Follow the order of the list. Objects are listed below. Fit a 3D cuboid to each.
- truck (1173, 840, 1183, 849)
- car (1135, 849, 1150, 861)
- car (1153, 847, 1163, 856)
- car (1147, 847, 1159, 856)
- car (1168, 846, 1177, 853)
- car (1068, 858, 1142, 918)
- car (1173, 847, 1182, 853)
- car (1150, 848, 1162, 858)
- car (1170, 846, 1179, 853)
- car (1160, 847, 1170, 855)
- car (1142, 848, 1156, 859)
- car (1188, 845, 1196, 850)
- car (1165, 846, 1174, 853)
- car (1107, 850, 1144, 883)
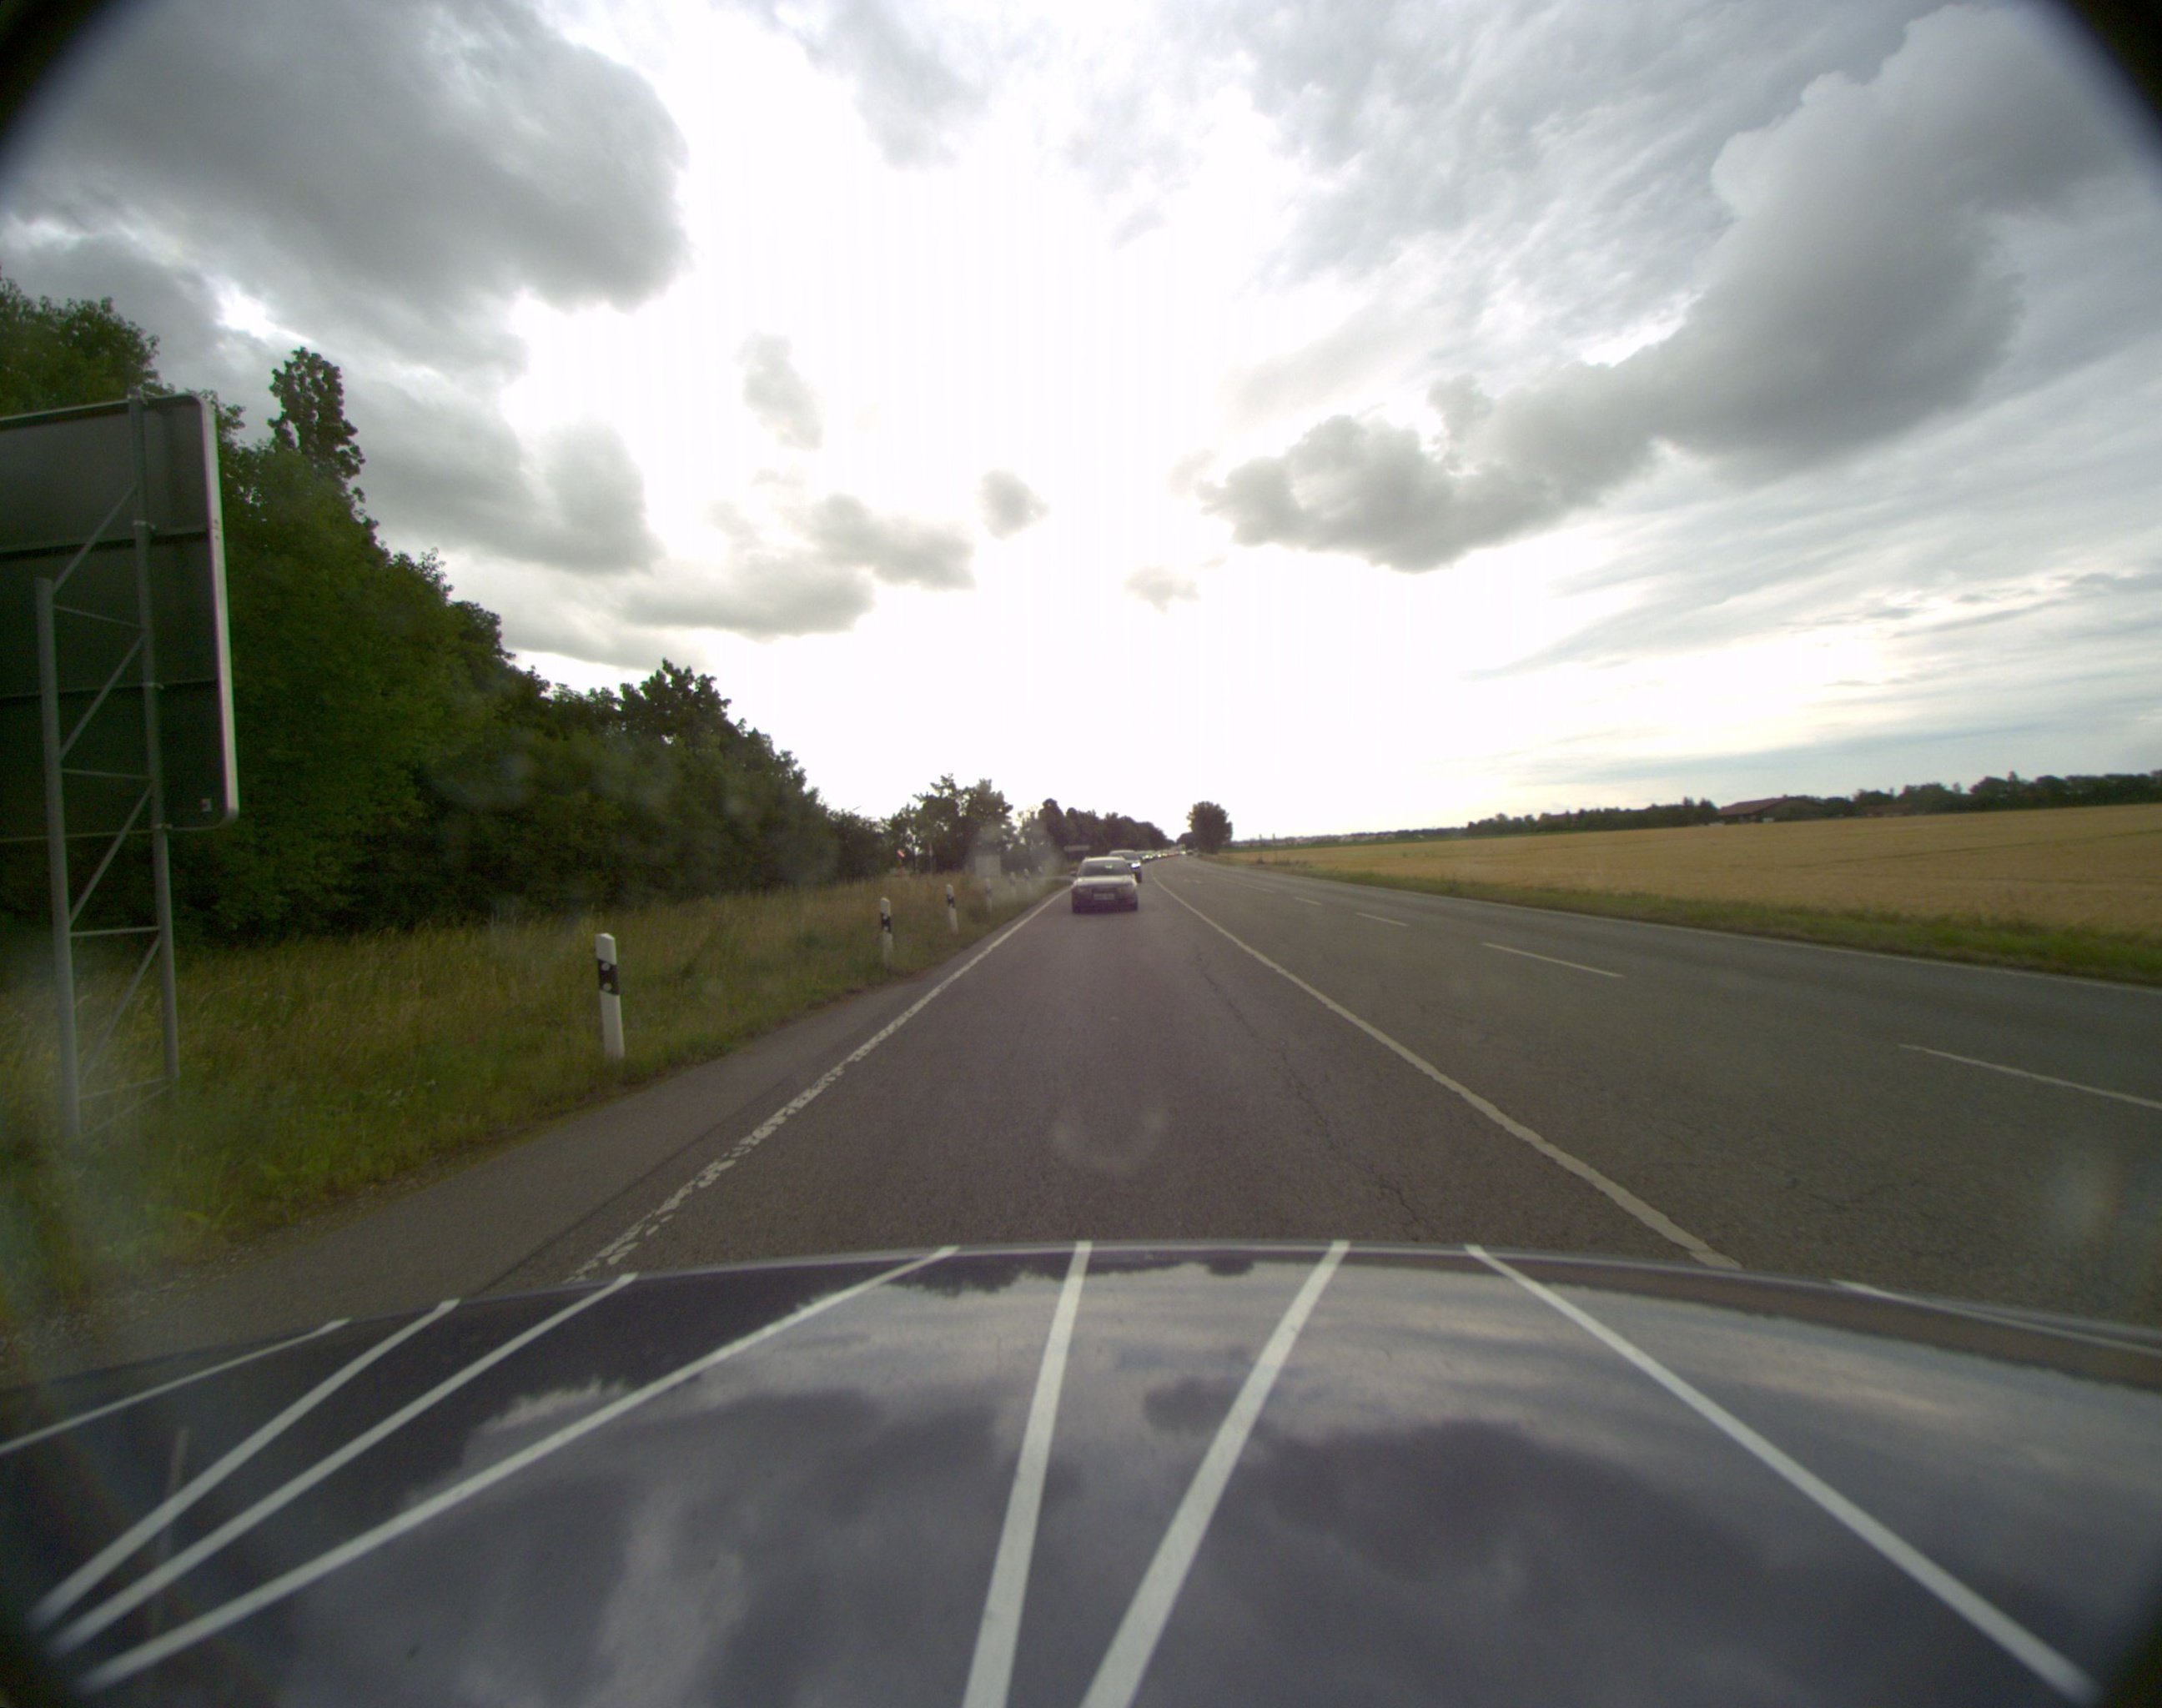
[{"bbox_3d":[29.713,-2.964,232.014,2.318,2.749,7.679,-3,0,12],"label":"truck"},{"bbox_3d":[8.168,0.108,101.020,1.793,1.573,4.369,-2,0,7],"label":"car"},{"bbox_3d":[15.323,-0.494,151.080,1.792,1.573,4.139,-2,0,9],"label":"car"},{"bbox_3d":[13.175,-0.435,138.254,1.792,1.573,4.139,-2,0,9],"label":"car"},{"bbox_3d":[23.154,-1.132,191.655,1.792,1.573,4.140,-2,0,12],"label":"car"},{"bbox_3d":[0.723,0.864,21.233,1.793,1.415,4.368,-2,0,3],"label":"car"},{"bbox_3d":[26.388,-1.203,207.069,1.792,1.531,4.141,-2,0,14],"label":"car"},{"bbox_3d":[12.507,-0.250,127.203,1.793,1.573,4.189,-2,0,7],"label":"car"},{"bbox_3d":[24.602,-1.232,199.414,1.792,1.573,4.141,-2,0,14],"label":"car"},{"bbox_3d":[18.048,-0.731,163.492,1.792,1.573,4.140,-2,0,12],"label":"car"},{"bbox_3d":[10.020,-0.077,111.649,1.793,1.573,4.189,-2,0,7],"label":"car"},{"bbox_3d":[31.356,-1.852,214.109,1.829,1.402,4.428,-2,0,13],"label":"car"},{"bbox_3d":[20.959,-0.996,180.046,1.792,1.573,4.140,-2,0,13],"label":"car"},{"bbox_3d":[2.338,0.627,39.939,1.793,1.573,4.368,-2,0,3],"label":"car"}]
